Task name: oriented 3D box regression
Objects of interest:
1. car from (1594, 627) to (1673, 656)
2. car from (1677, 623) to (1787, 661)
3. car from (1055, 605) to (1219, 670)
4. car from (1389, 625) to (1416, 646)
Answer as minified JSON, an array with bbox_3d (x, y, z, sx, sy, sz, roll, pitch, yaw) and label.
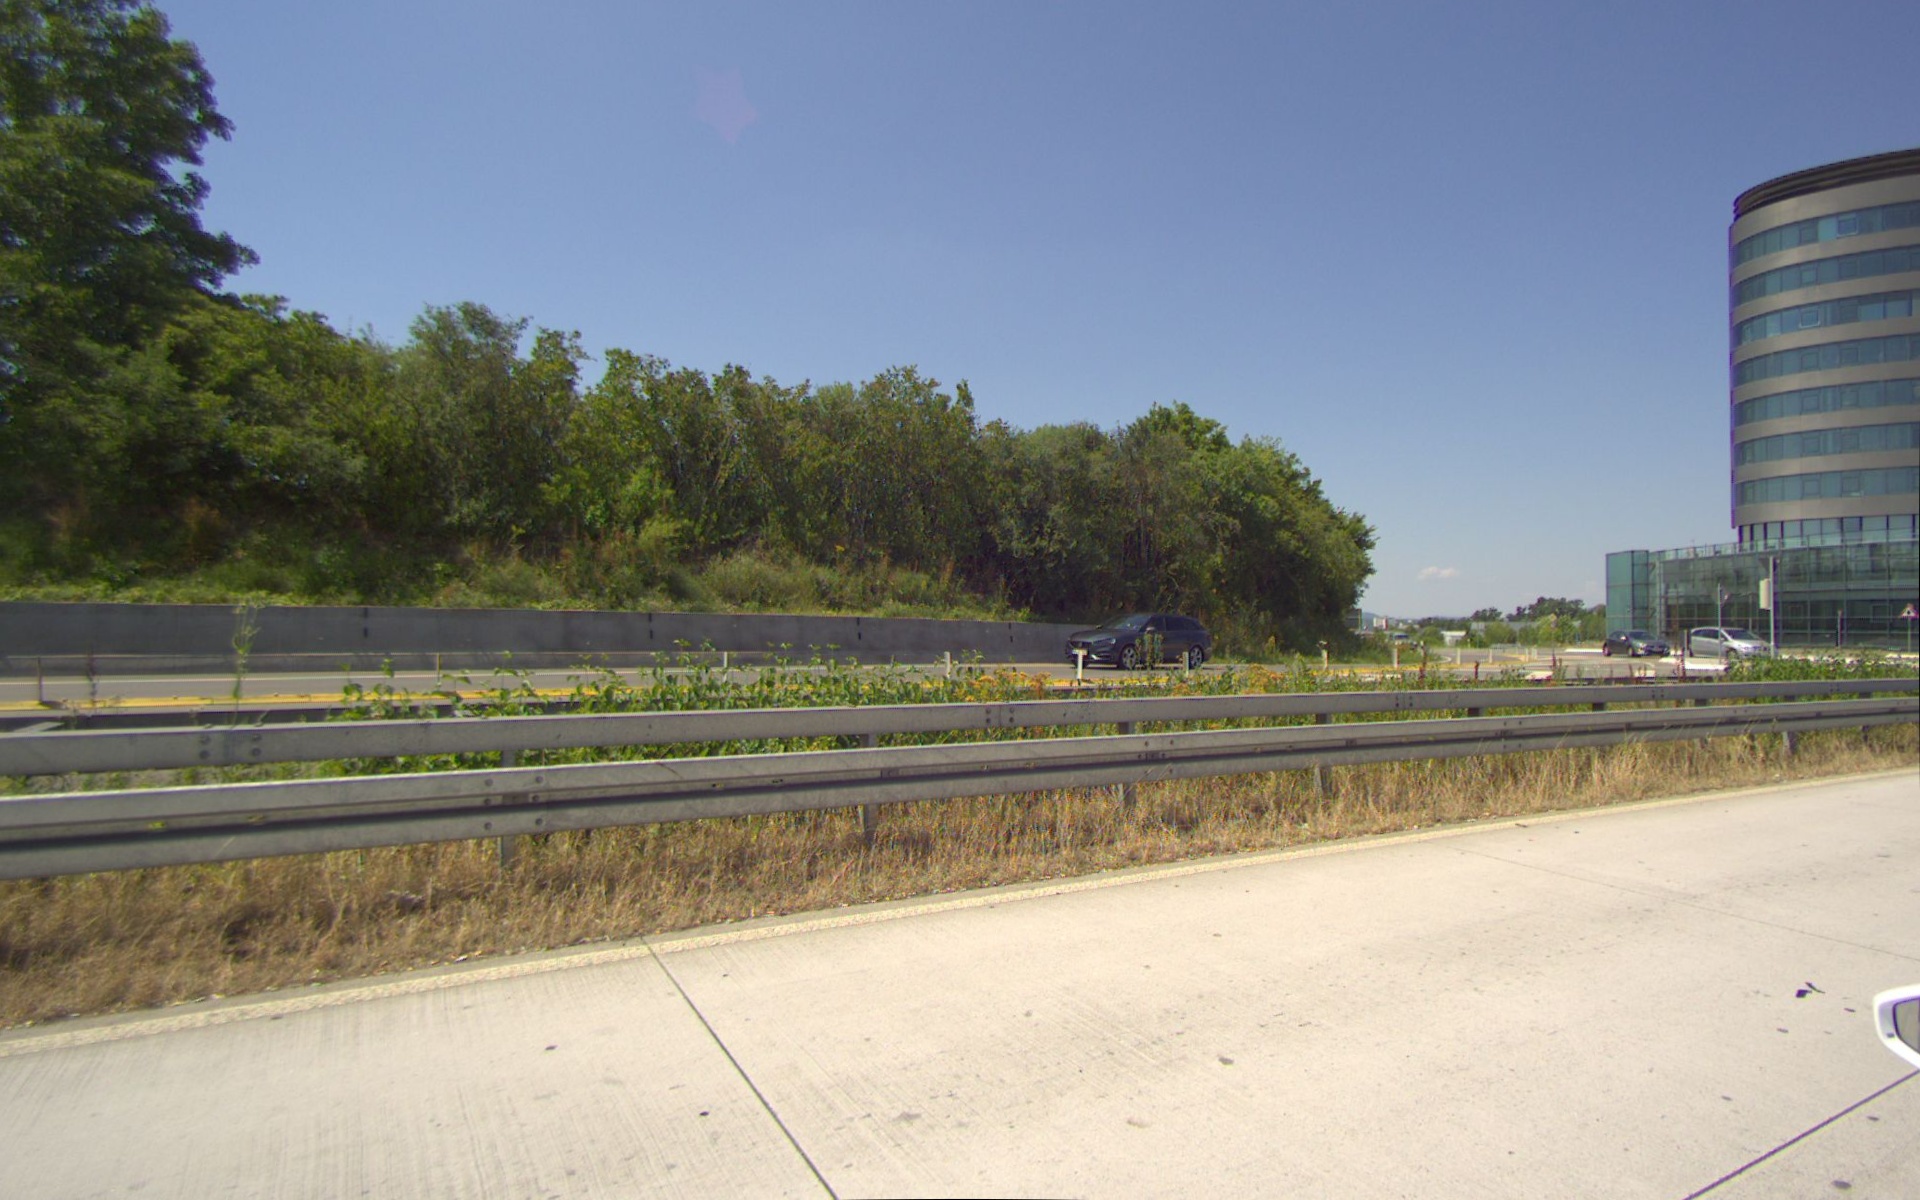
[{"bbox_3d":[36.285,2.244,54.240,1.663,1.475,4.333,2,-2,6],"label":"car"},{"bbox_3d":[35.514,1.943,46.346,1.742,1.616,4.331,2,-2,0],"label":"car"},{"bbox_3d":[4.573,0.956,25.679,4.255,1.504,1.699,2,0,-37],"label":"car"},{"bbox_3d":[39.741,3.136,90.246,1.961,1.796,4.856,1,-1,22],"label":"car"}]
